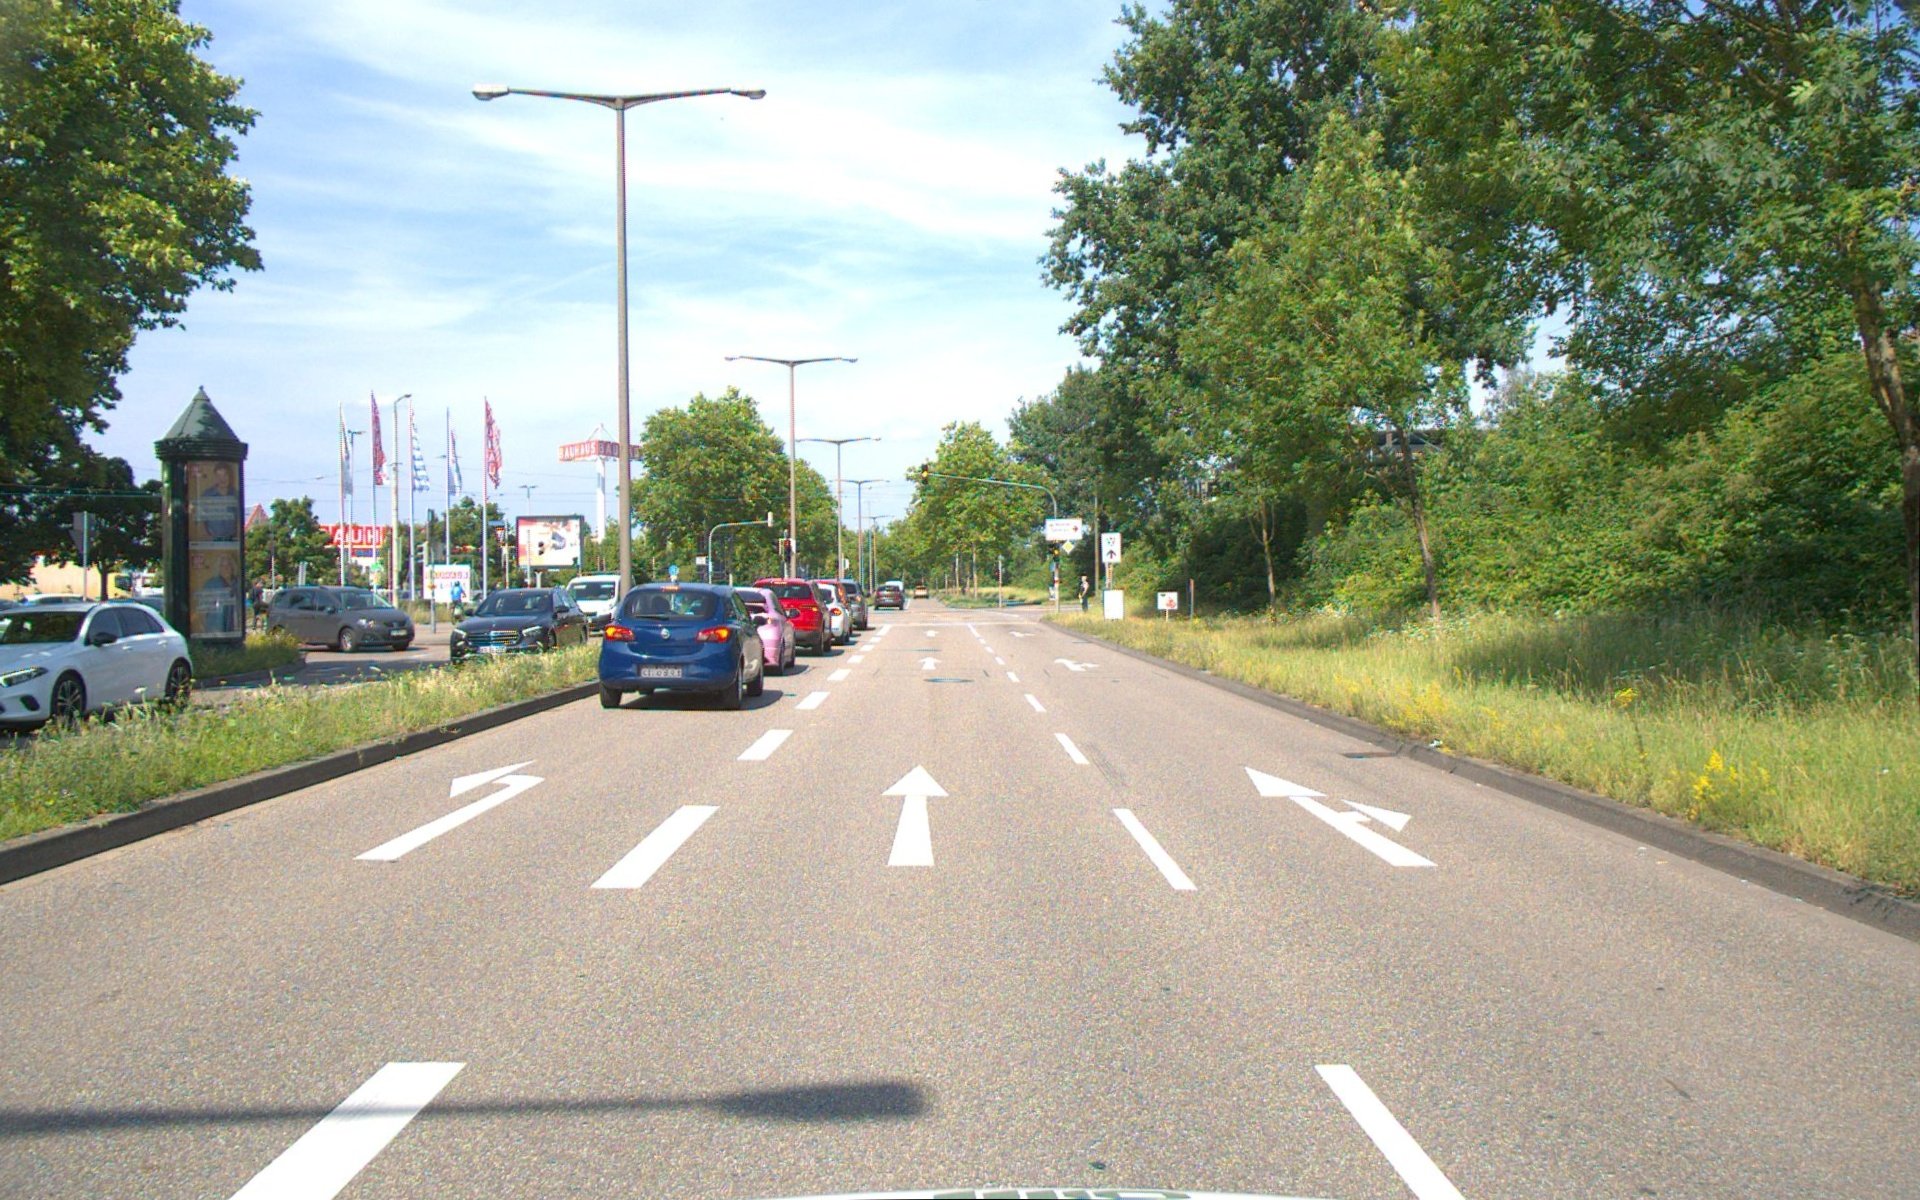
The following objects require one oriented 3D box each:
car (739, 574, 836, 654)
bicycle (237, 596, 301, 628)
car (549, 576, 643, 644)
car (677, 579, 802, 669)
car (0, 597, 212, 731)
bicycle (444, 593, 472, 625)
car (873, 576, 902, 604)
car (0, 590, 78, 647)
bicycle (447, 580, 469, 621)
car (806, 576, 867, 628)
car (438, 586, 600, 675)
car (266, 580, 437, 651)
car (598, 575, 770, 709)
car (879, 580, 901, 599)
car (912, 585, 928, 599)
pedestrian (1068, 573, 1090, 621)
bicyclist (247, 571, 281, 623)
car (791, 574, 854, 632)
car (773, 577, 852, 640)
[{"bbox_3d":[-3.667,0.258,35.796,1.746,1.620,4.592,0,1,-2],"label":"car"},{"bbox_3d":[-23.975,0.409,57.387,1.934,1.000,0.779,-2,3,-38],"label":"bicycle"},{"bbox_3d":[-11.719,0.267,53.581,1.953,2.049,5.212,-1,1,-1],"label":"car"},{"bbox_3d":[-3.727,0.359,28.638,1.668,1.414,4.471,1,1,-2],"label":"car"},{"bbox_3d":[-10.847,0.710,19.885,1.751,1.422,4.358,-2,0,-1],"label":"car"},{"bbox_3d":[-20.485,0.371,67.548,0.659,1.278,2.244,-1,0,-6],"label":"bicycle"},{"bbox_3d":[-4.597,-0.652,105.140,1.701,1.562,4.001,0,3,-1],"label":"car"},{"bbox_3d":[-28.723,0.562,49.334,4.061,1.631,1.724,-1,0,11],"label":"car"},{"bbox_3d":[-20.497,0.032,67.554,0.659,1.643,0.991,-1,0,-6],"label":"bicycle"},{"bbox_3d":[-4.069,0.056,55.039,1.843,1.646,4.211,0,0,-2],"label":"car"},{"bbox_3d":[-8.496,0.527,32.317,1.953,1.557,4.681,-1,0,-1],"label":"car"},{"bbox_3d":[-16.177,0.414,43.929,4.301,1.781,1.866,-1,0,29],"label":"car"},{"bbox_3d":[-3.408,0.466,21.064,1.593,1.509,4.047,1,1,-2],"label":"car"},{"bbox_3d":[-6.831,-1.039,161.905,1.953,1.738,4.263,-1,0,-1],"label":"car"},{"bbox_3d":[-4.598,-0.948,191.197,1.830,1.601,3.999,-1,0,-1],"label":"car"},{"bbox_3d":[4.996,-0.144,69.285,0.821,1.966,0.771,0,2,-5],"label":"pedestrian"},{"bbox_3d":[-24.095,-0.121,57.277,0.890,1.745,0.772,-2,3,-37],"label":"bicyclist"},{"bbox_3d":[-4.010,0.108,48.584,1.595,1.623,3.916,-1,0,-2],"label":"car"},{"bbox_3d":[-3.716,0.191,42.094,1.730,1.505,4.134,1,1,-2],"label":"car"}]
